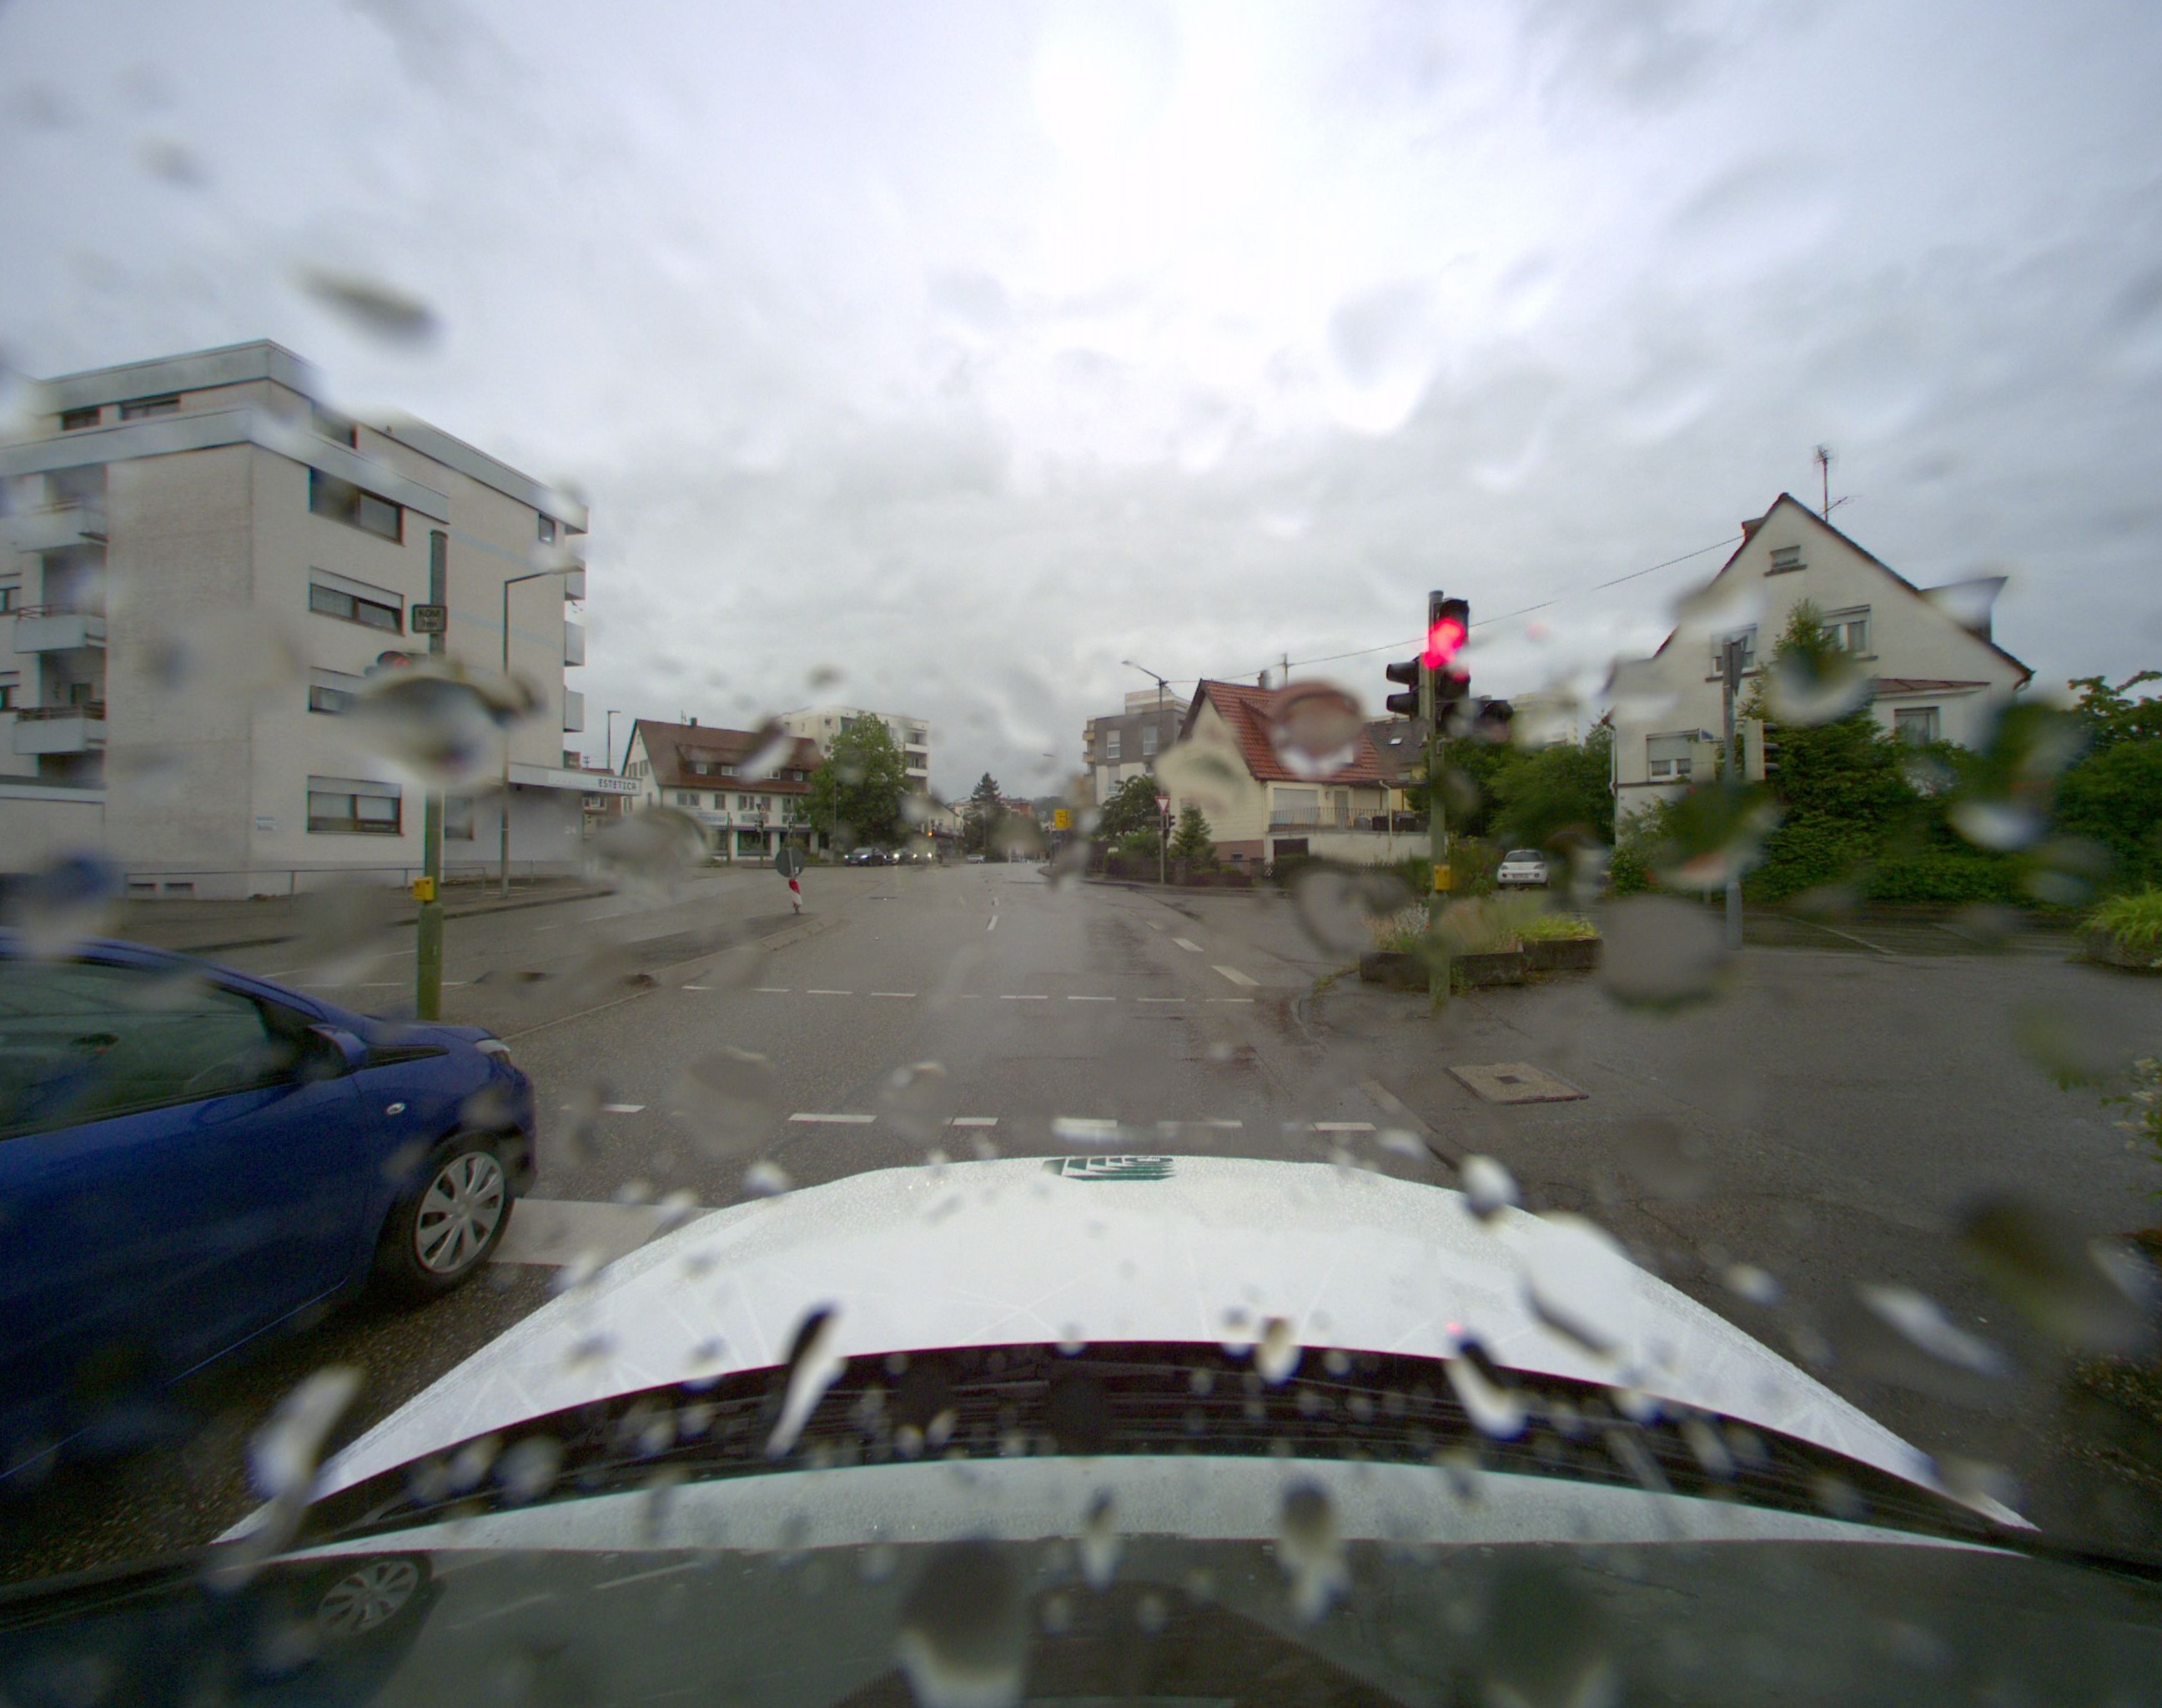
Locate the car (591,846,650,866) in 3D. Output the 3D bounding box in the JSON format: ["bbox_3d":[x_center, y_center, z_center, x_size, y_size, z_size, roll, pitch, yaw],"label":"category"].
[{"bbox_3d":[-38.527,0.139,68.183,3.988,1.572,1.850,-1,1,-42],"label":"car"}]

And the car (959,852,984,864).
[{"bbox_3d":[-17.616,0.624,131.470,3.838,1.815,1.760,0,0,-2],"label":"car"}]

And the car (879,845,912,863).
[{"bbox_3d":[-15.261,-0.009,67.181,1.709,1.387,4.022,0,1,2],"label":"car"}]

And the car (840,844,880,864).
[{"bbox_3d":[-16.187,0.007,59.818,1.772,1.420,3.832,0,1,2],"label":"car"}]

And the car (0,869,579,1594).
[{"bbox_3d":[-2.962,0.786,1.810,1.572,1.410,3.272,0,0,2],"label":"car"}]

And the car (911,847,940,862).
[{"bbox_3d":[-14.512,0.034,76.166,1.772,1.420,3.832,0,1,2],"label":"car"}]

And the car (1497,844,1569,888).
[{"bbox_3d":[17.011,0.396,30.585,1.723,1.514,4.025,0,1,39],"label":"car"}]

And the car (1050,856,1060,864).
[{"bbox_3d":[-5.612,1.260,175.122,1.806,1.486,4.192,-1,0,2],"label":"car"}]
